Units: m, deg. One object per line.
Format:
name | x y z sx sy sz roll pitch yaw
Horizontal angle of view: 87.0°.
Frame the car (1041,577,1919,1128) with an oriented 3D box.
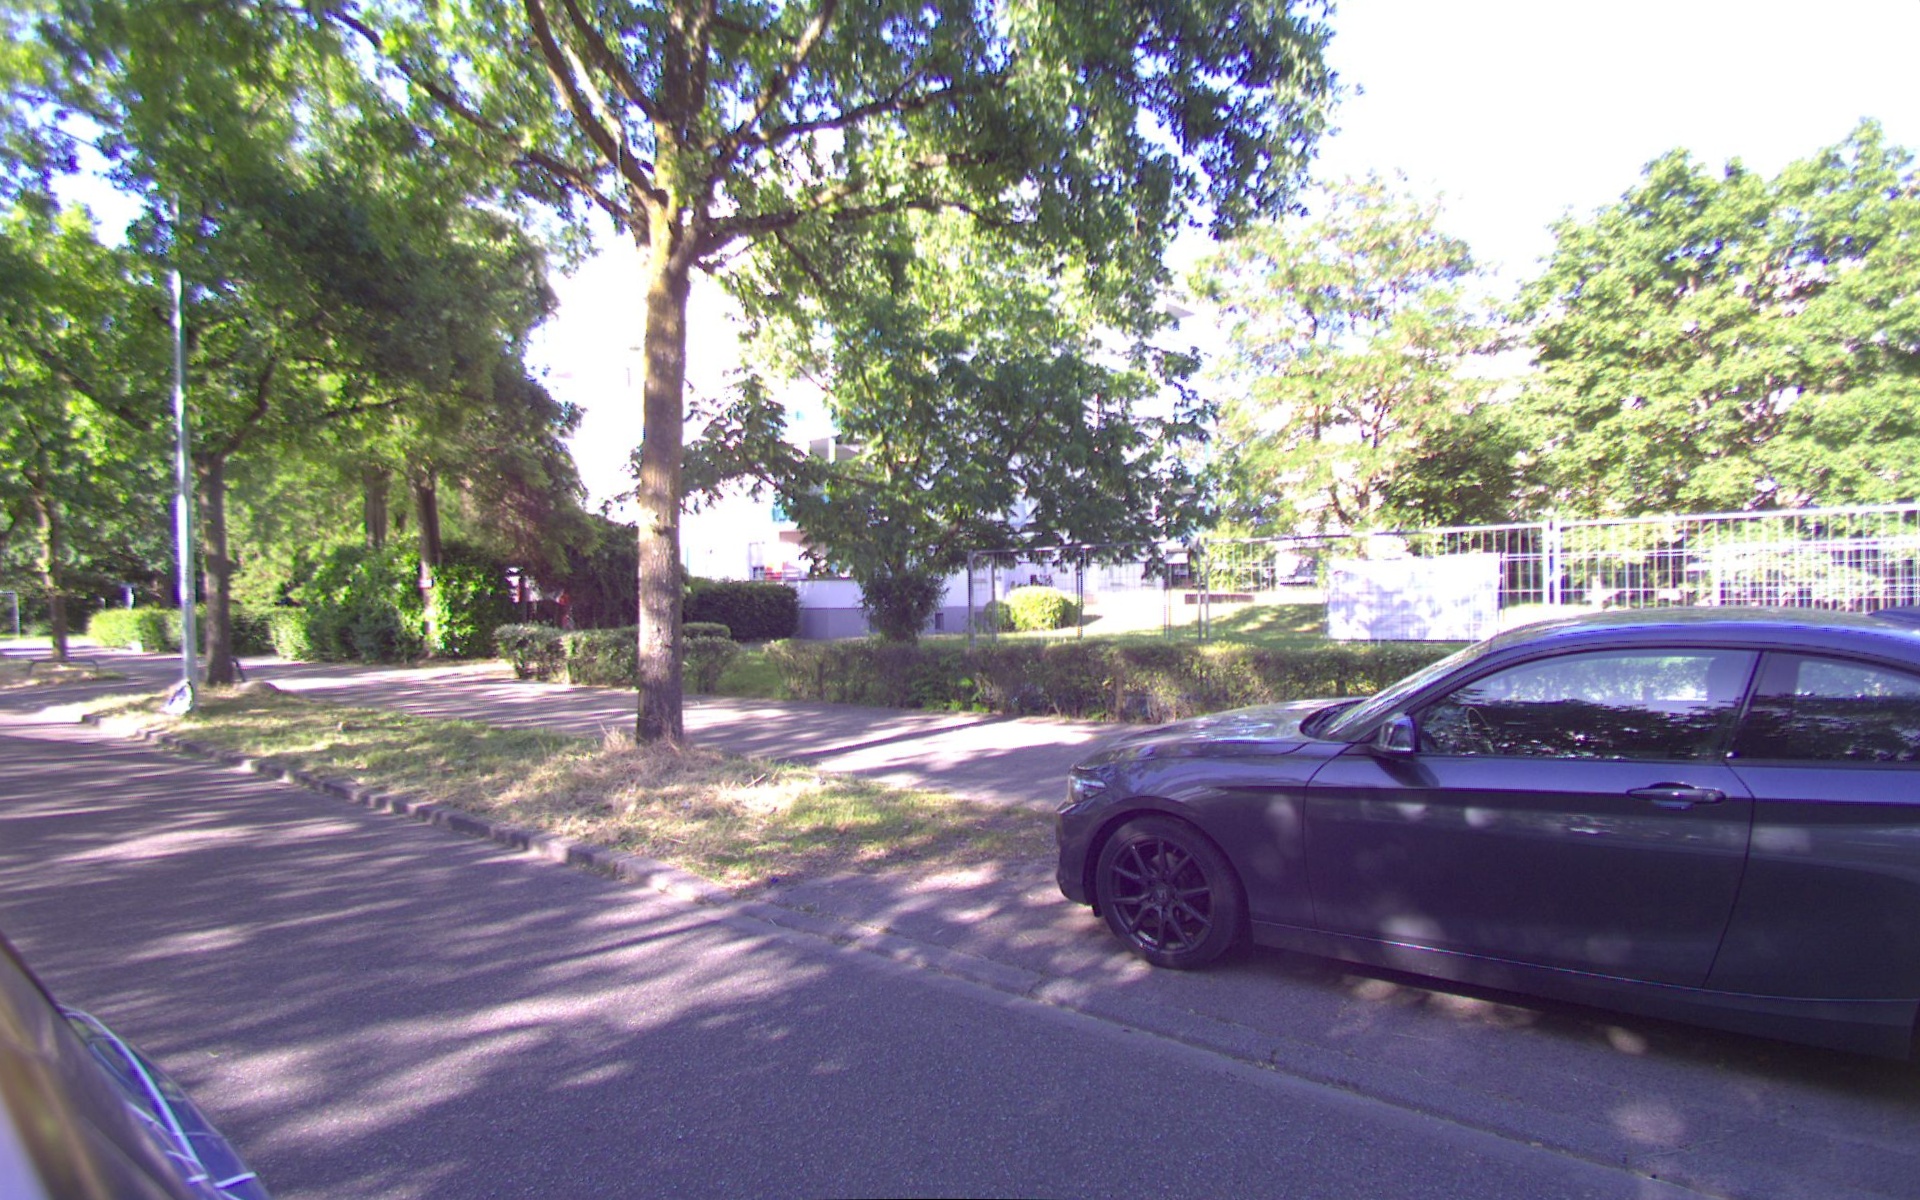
car | 2.521 0.682 3.804 4.130 1.443 1.700 -1 1 37
